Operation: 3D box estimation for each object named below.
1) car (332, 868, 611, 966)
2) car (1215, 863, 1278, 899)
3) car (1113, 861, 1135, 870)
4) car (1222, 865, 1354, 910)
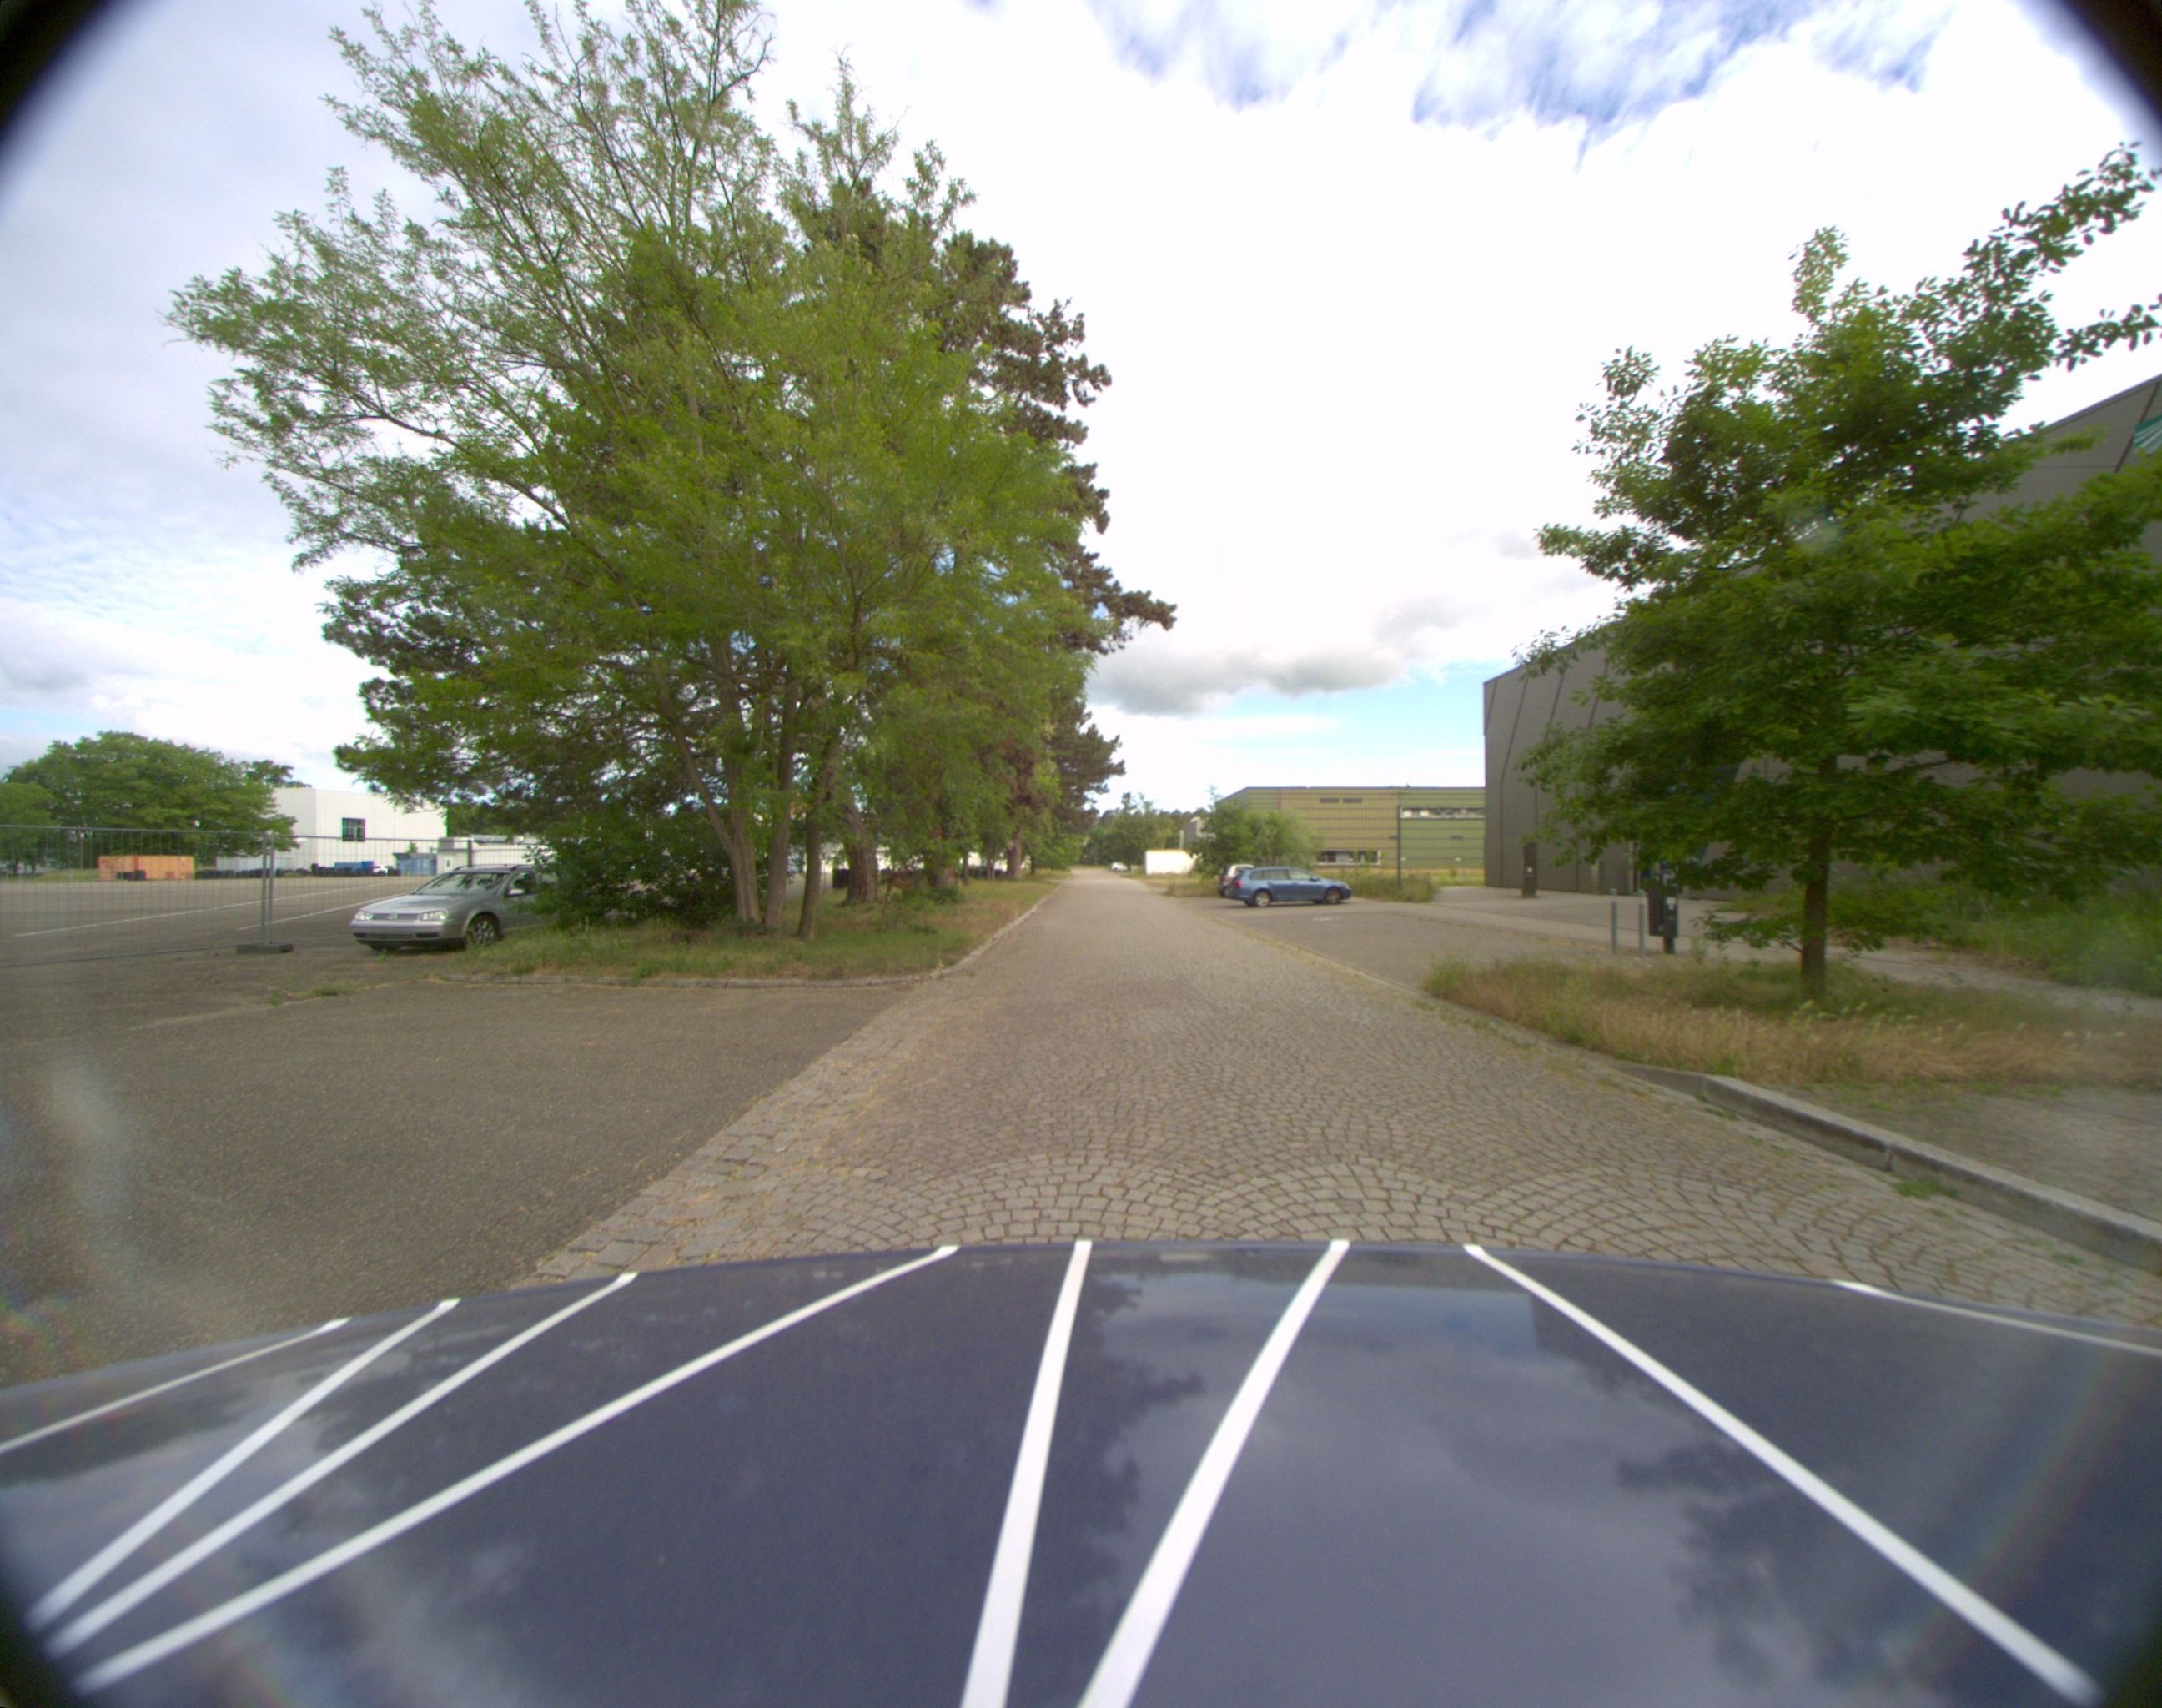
[{"bbox_3d":[-10.937,1.032,14.160,1.678,1.442,4.488,-1,0,-2],"label":"car"},{"bbox_3d":[7.786,1.251,35.794,2.584,1.521,1.500,-2,0,-1],"label":"car"},{"bbox_3d":[8.355,2.217,148.241,4.062,1.767,1.793,-1,0,0],"label":"car"},{"bbox_3d":[7.690,1.227,28.424,4.426,1.461,1.633,-2,0,-2],"label":"car"}]
